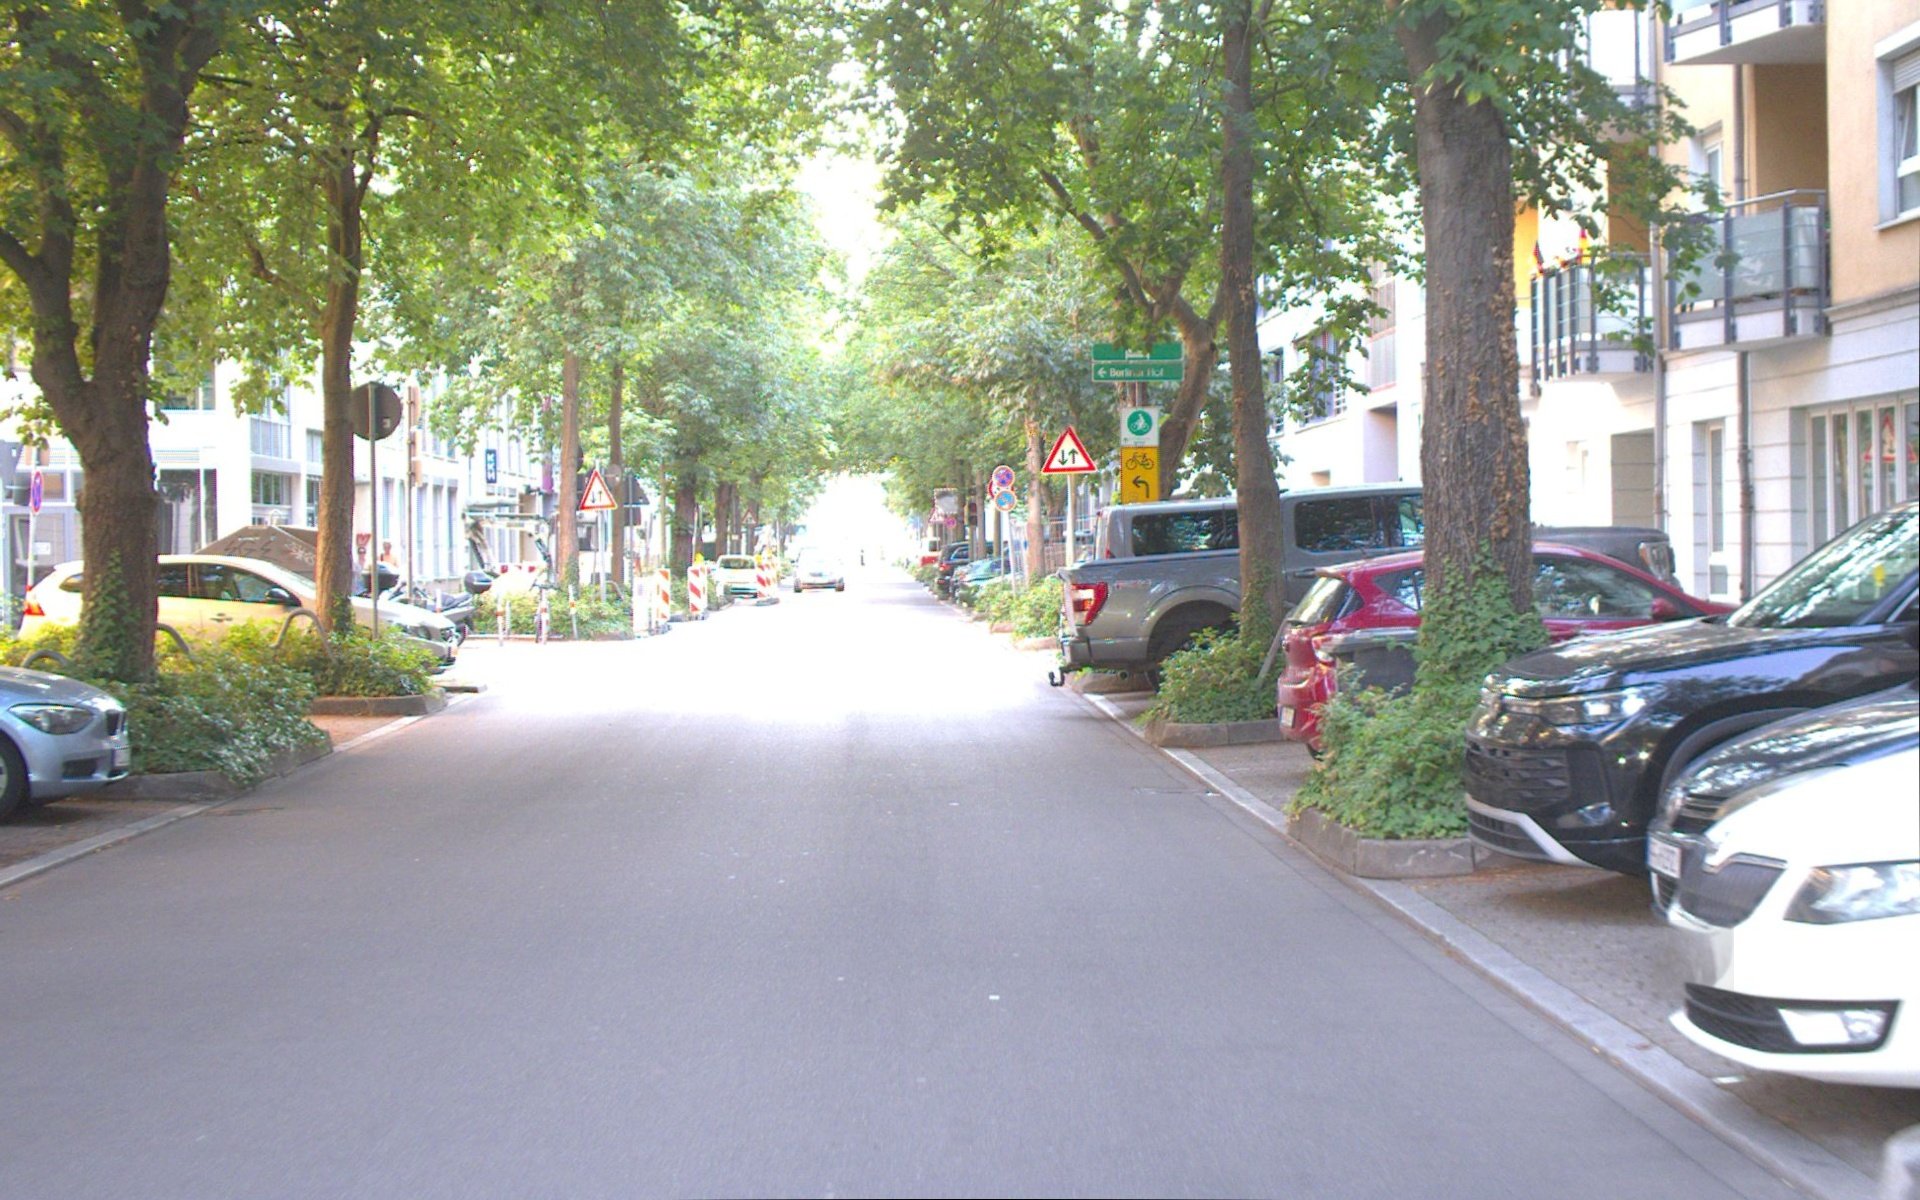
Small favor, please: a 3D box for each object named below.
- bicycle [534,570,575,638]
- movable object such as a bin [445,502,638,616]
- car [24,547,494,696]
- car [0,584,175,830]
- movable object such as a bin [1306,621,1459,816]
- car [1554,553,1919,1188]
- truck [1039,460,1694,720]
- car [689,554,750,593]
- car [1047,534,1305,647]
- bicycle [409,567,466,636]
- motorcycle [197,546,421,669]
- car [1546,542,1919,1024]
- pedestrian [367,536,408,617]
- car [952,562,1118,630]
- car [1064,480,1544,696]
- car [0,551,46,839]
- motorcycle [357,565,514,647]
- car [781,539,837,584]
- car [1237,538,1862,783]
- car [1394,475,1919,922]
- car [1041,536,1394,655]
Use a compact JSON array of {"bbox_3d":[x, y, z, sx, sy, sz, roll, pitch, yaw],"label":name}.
[{"bbox_3d":[-7.129,0.063,60.418,0.683,1.148,1.981,-1,1,-7],"label":"bicycle"},{"bbox_3d":[-9.110,-0.910,74.906,4.045,2.375,2.785,-1,1,-7],"label":"movable object such as a bin"},{"bbox_3d":[-7.489,0.214,37.079,4.619,1.547,2.075,0,1,1],"label":"car"},{"bbox_3d":[-7.200,0.645,21.206,4.287,1.425,1.879,-1,1,-1],"label":"car"},{"bbox_3d":[2.482,0.689,20.279,0.760,1.080,0.785,-2,1,0],"label":"movable object such as a bin"},{"bbox_3d":[4.107,0.527,9.237,4.599,1.463,1.796,-4,1,-2],"label":"car"},{"bbox_3d":[3.739,-0.108,32.471,5.887,2.303,2.212,-1,1,-1],"label":"truck"},{"bbox_3d":[-8.404,-0.931,119.706,1.993,1.284,4.001,-1,1,-6],"label":"car"},{"bbox_3d":[3.082,-0.145,49.544,3.538,1.558,1.832,-1,1,-1],"label":"car"},{"bbox_3d":[-9.164,0.019,60.359,0.683,1.148,1.981,-1,1,0],"label":"bicycle"},{"bbox_3d":[-7.689,0.080,40.669,2.453,1.415,0.911,-1,1,1],"label":"motorcycle"},{"bbox_3d":[4.335,0.459,11.850,4.224,1.433,1.929,-4,1,1],"label":"car"},{"bbox_3d":[-11.979,-0.500,71.960,0.739,1.684,0.607,-1,1,0],"label":"pedestrian"},{"bbox_3d":[1.817,-0.114,83.864,3.987,1.579,2.000,-1,1,1],"label":"car"},{"bbox_3d":[3.454,-0.138,35.210,4.600,2.059,2.198,-1,1,-2],"label":"car"},{"bbox_3d":[-7.222,0.537,18.575,3.987,1.560,1.929,0,1,4],"label":"car"},{"bbox_3d":[-8.649,0.089,56.773,2.350,1.277,1.067,-2,2,-41],"label":"motorcycle"},{"bbox_3d":[-5.640,-1.449,128.399,2.009,1.607,4.120,-1,1,-3],"label":"car"},{"bbox_3d":[3.840,0.369,22.857,3.776,1.539,1.878,0,1,-3],"label":"car"},{"bbox_3d":[4.372,0.260,14.441,4.641,1.612,2.010,-4,1,-5],"label":"car"},{"bbox_3d":[3.464,-0.074,46.890,4.621,1.566,2.011,0,1,-2],"label":"car"}]
